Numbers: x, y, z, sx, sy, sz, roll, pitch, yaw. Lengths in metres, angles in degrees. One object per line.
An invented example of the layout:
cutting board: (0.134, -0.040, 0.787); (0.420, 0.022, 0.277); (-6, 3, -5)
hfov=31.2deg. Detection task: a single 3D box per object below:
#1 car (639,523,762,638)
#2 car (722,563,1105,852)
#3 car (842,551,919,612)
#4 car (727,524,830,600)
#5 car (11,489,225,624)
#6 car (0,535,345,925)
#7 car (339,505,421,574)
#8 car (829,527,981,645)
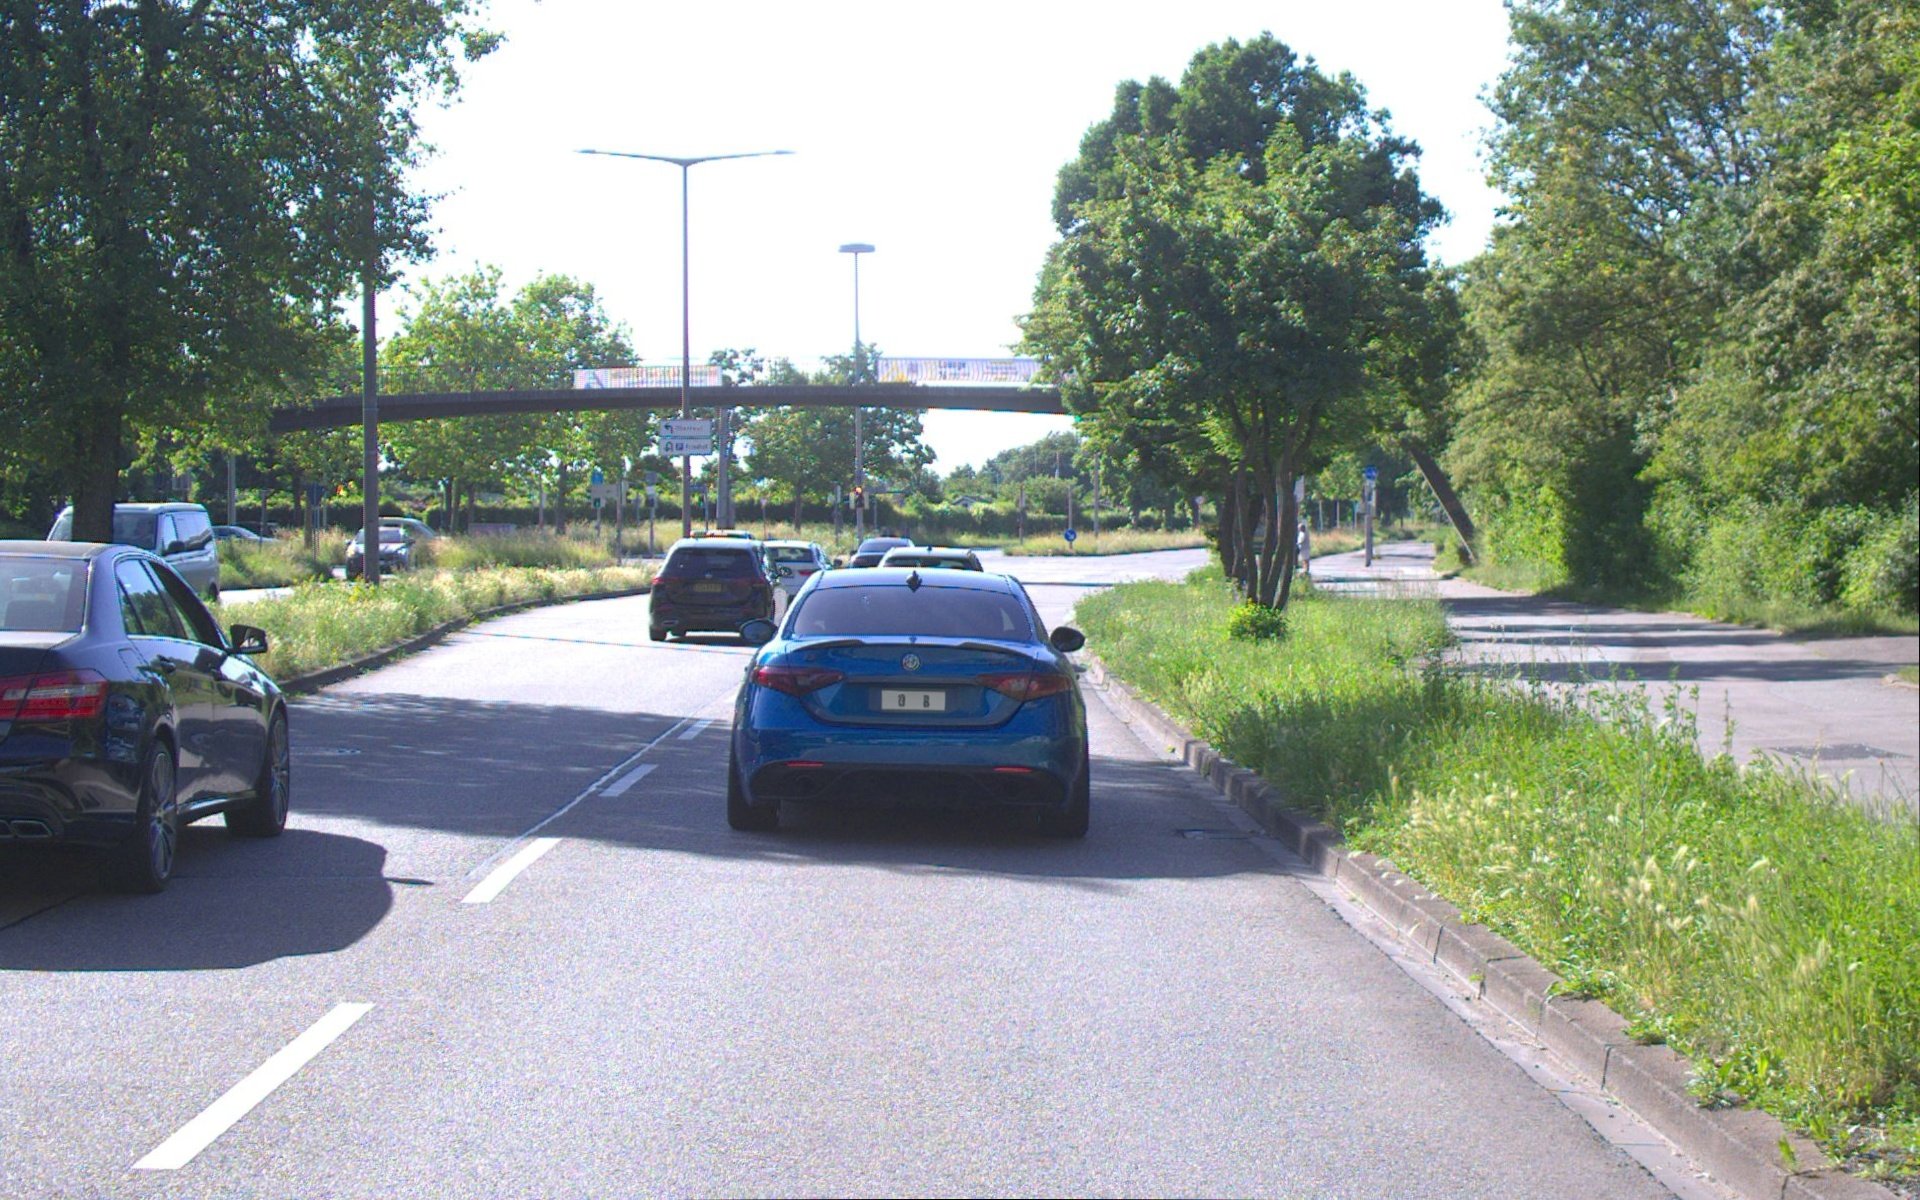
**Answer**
car: (-3.807, -0.303, 50.944); (1.707, 1.592, 4.224); (1, 1, -3)
car: (-0.262, 0.513, 19.240); (1.883, 1.401, 4.224); (1, 1, -1)
car: (-1.990, -0.485, 86.796); (1.883, 1.449, 4.526); (1, 1, -1)
car: (-3.619, -0.765, 69.226); (1.883, 1.449, 4.526); (1, 1, -1)
car: (-12.563, -0.643, 51.617); (1.993, 1.922, 5.246); (0, 1, -1)
car: (-4.185, 0.450, 15.485); (1.959, 1.478, 4.918); (0, 1, 0)
car: (-17.548, -1.819, 104.224); (1.993, 2.007, 4.583); (1, 1, -4)
car: (-0.726, -0.198, 45.448); (1.883, 1.449, 4.526); (1, 1, -1)
